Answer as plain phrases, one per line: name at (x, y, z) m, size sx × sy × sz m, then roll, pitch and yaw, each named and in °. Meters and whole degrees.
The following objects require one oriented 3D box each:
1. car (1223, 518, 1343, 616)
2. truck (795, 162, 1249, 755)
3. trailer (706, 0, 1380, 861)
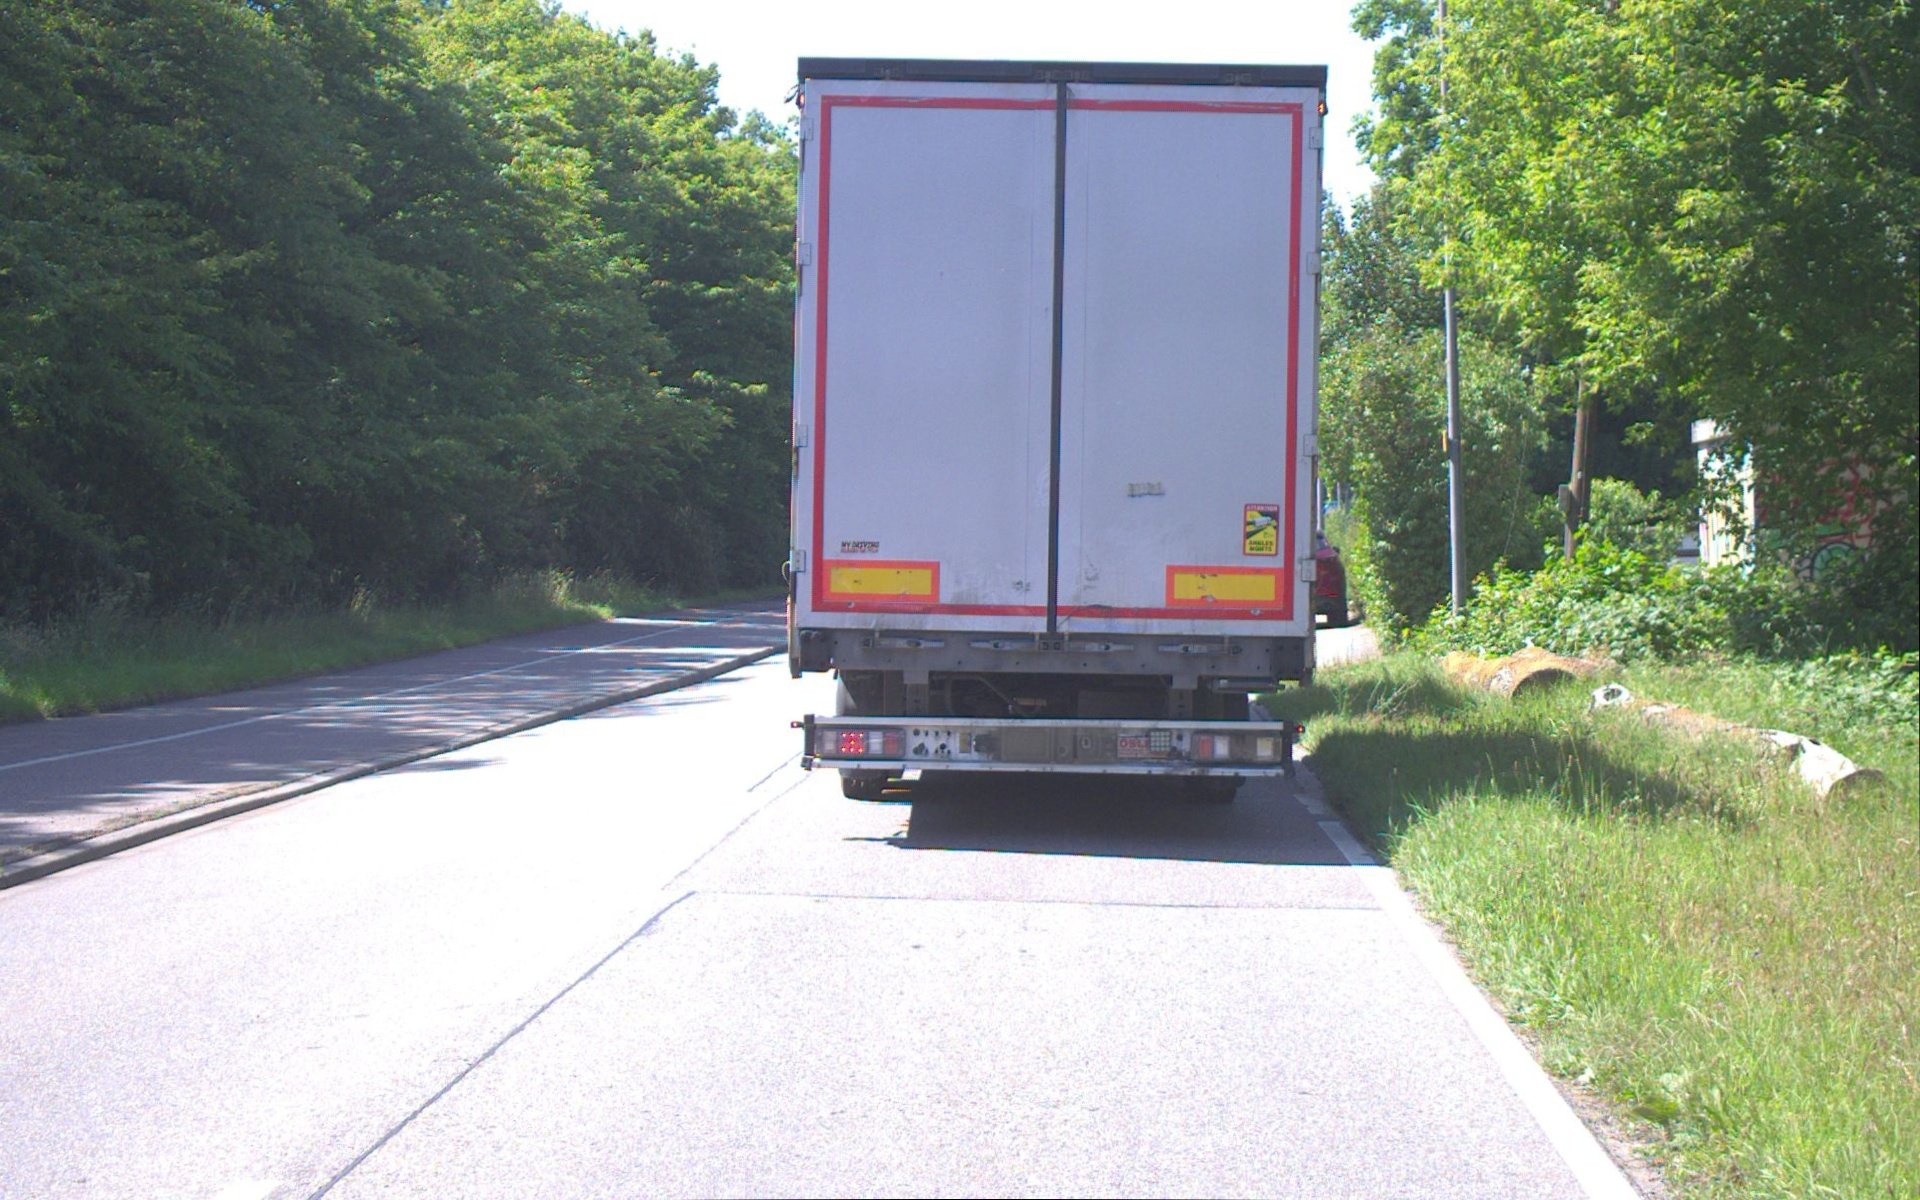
car at (5.248, -0.560, 56.238) m, size 1.710 × 1.525 × 3.851 m, roll 0°, pitch 1°, yaw 2°
truck at (0.435, -1.059, 27.813) m, size 3.077 × 4.056 × 7.959 m, roll 1°, pitch 1°, yaw 0°
trailer at (0.402, -0.933, 21.147) m, size 3.077 × 4.056 × 9.809 m, roll 2°, pitch 1°, yaw 0°
